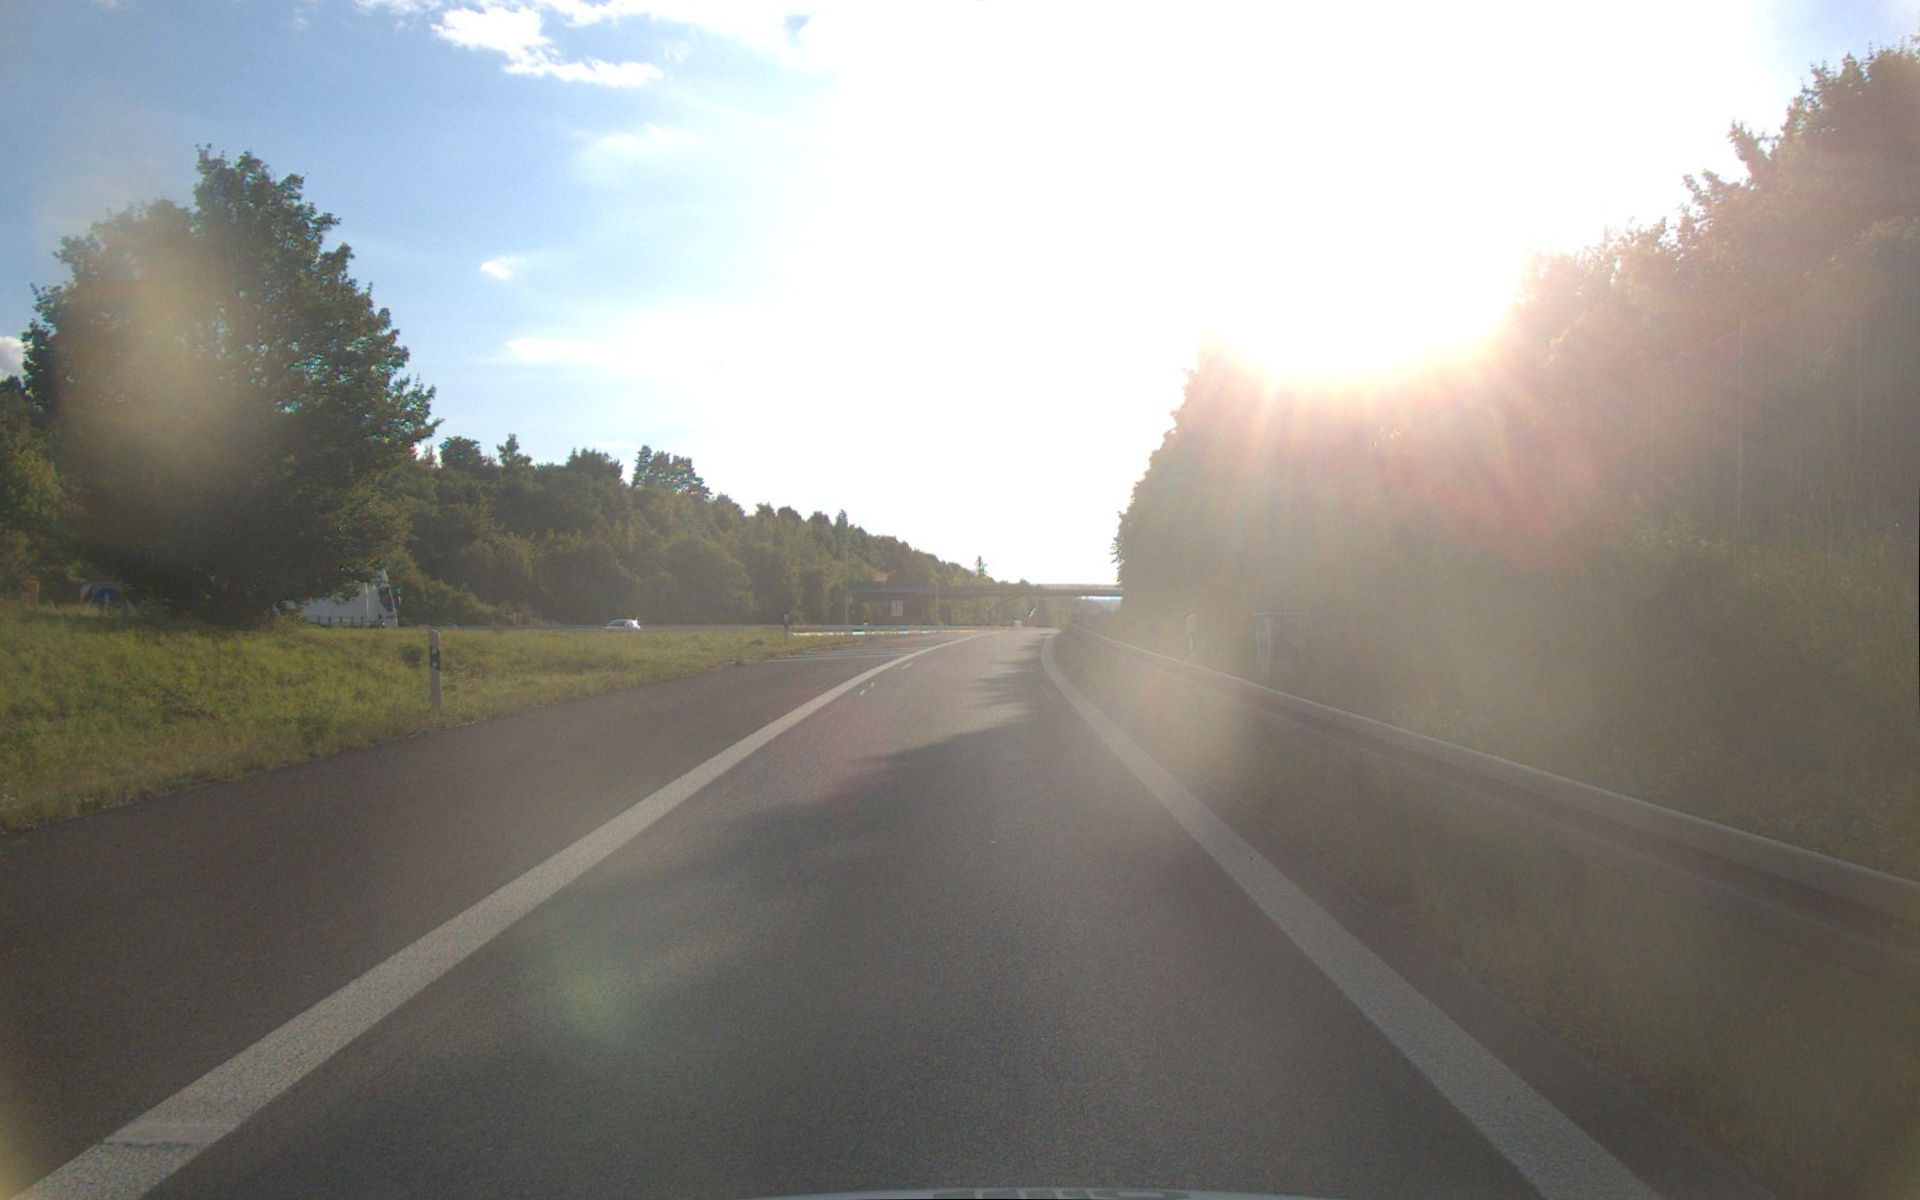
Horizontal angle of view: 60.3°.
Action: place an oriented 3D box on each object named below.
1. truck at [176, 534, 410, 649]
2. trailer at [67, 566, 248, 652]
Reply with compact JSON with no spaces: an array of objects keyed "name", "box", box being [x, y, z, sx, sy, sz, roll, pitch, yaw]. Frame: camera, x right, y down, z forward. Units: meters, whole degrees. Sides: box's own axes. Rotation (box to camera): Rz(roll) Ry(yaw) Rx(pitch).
[{"name":"truck","box":[-24.114,-0.213,60.548,2.858,3.856,9.672,-1,-1,14]},{"name":"trailer","box":[-25.833,0.306,53.492,2.858,2.623,4.819,-1,-1,14]}]
